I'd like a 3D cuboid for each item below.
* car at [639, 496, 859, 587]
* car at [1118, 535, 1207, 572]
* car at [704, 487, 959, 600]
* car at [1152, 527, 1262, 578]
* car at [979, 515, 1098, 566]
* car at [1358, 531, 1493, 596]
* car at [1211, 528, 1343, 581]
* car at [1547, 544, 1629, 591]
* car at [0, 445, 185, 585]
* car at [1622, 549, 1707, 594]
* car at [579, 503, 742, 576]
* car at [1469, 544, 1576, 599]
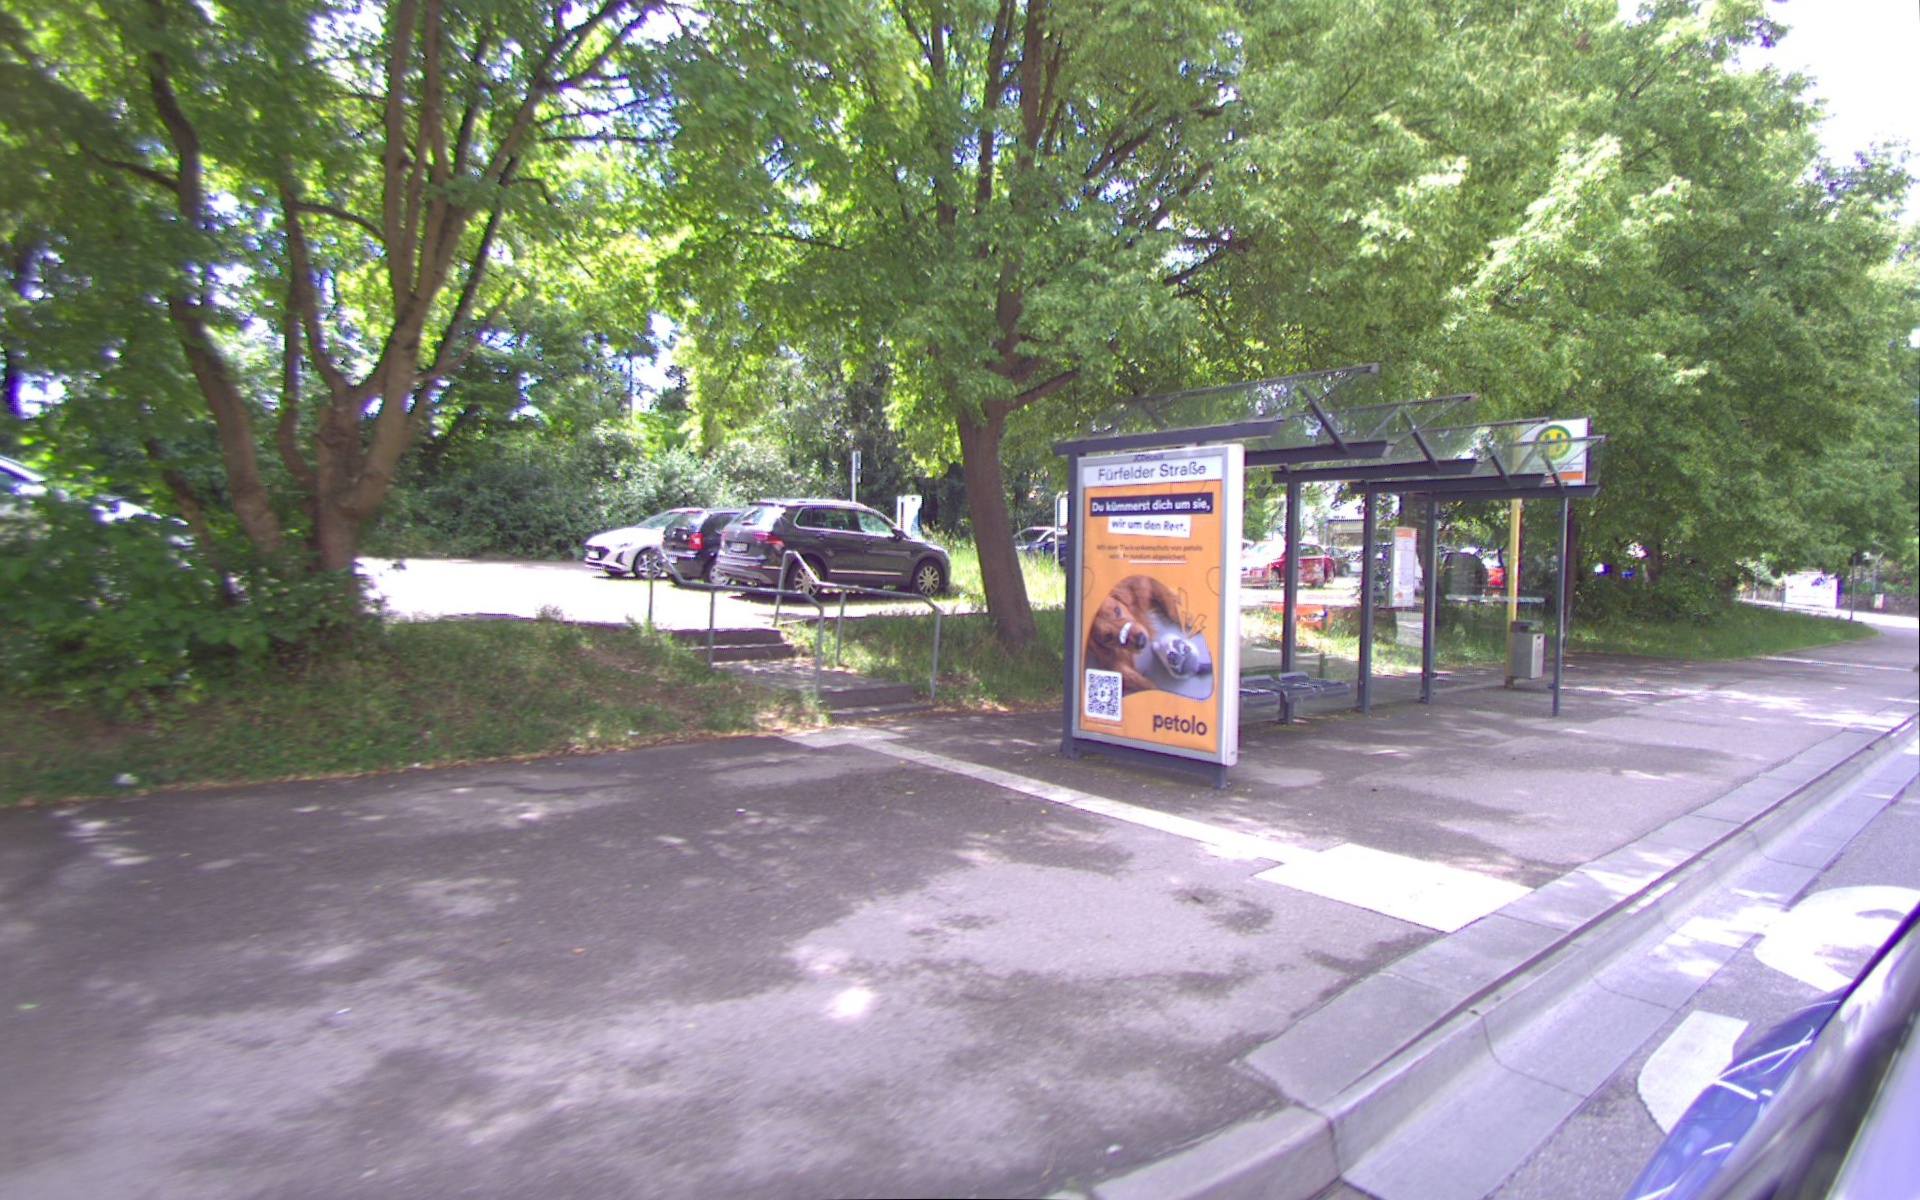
[{"bbox_3d":[-3.931,-1.132,19.104,3.730,1.509,1.691,-3,7,-42],"label":"car"},{"bbox_3d":[8.233,-1.885,41.010,3.599,1.344,1.635,-1,5,-41],"label":"car"},{"bbox_3d":[-2.148,-1.021,17.627,4.190,1.714,1.691,-3,7,-42],"label":"car"},{"bbox_3d":[8.052,-1.529,32.860,3.599,1.495,1.635,-1,5,-41],"label":"car"},{"bbox_3d":[2.880,-2.120,36.659,4.030,1.644,2.062,0,3,-42],"label":"car"},{"bbox_3d":[12.317,-0.954,26.704,4.067,1.532,1.631,-1,6,-41],"label":"car"},{"bbox_3d":[9.863,-1.386,31.306,4.465,1.495,1.756,-1,5,-41],"label":"car"},{"bbox_3d":[24.316,-1.297,39.145,3.842,1.653,1.681,-3,7,-43],"label":"car"},{"bbox_3d":[-11.777,-1.046,11.769,4.351,1.573,1.474,0,5,-39],"label":"car"},{"bbox_3d":[25.990,-1.103,37.283,3.752,1.529,1.826,-3,5,-43],"label":"car"},{"bbox_3d":[-5.993,-1.229,20.336,2.812,1.318,1.411,-3,7,-42],"label":"car"},{"bbox_3d":[17.124,-0.862,30.767,3.599,1.518,1.665,-1,5,-41],"label":"car"}]
